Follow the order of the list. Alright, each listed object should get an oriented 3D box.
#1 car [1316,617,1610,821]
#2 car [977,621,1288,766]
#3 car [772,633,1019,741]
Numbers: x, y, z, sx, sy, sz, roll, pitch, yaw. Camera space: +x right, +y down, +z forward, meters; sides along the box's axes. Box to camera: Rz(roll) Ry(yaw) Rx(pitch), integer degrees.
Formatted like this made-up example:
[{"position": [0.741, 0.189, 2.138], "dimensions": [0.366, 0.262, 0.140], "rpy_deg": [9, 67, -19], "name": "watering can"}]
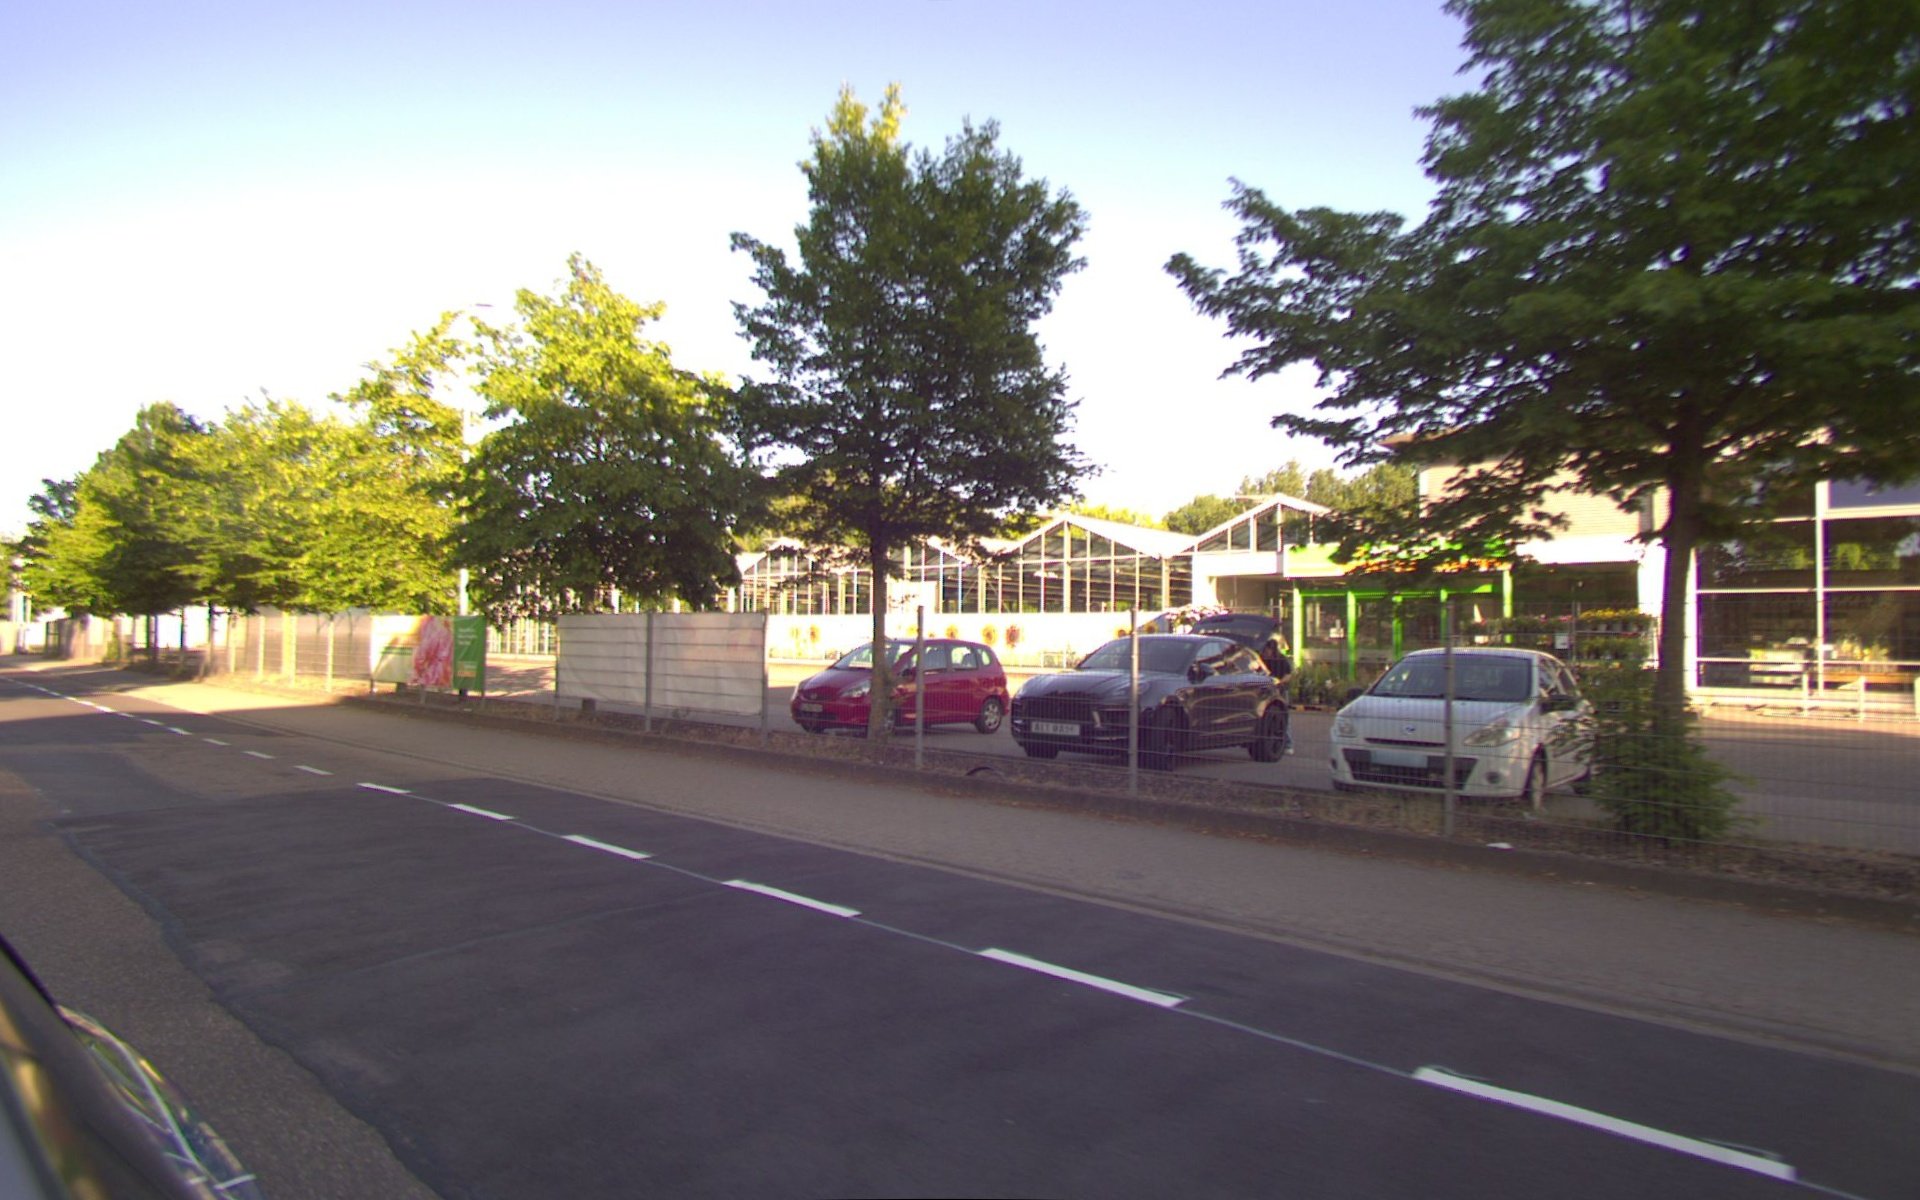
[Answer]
[{"position": [4.924, 1.052, 9.639], "dimensions": [1.783, 1.523, 3.852], "rpy_deg": [-2, -5, 38], "name": "car"}, {"position": [2.293, 1.128, 12.542], "dimensions": [2.050, 1.462, 4.144], "rpy_deg": [-2, -6, 39], "name": "car"}, {"position": [-0.893, 1.335, 15.724], "dimensions": [1.804, 1.462, 3.689], "rpy_deg": [-2, -6, 39], "name": "car"}]
